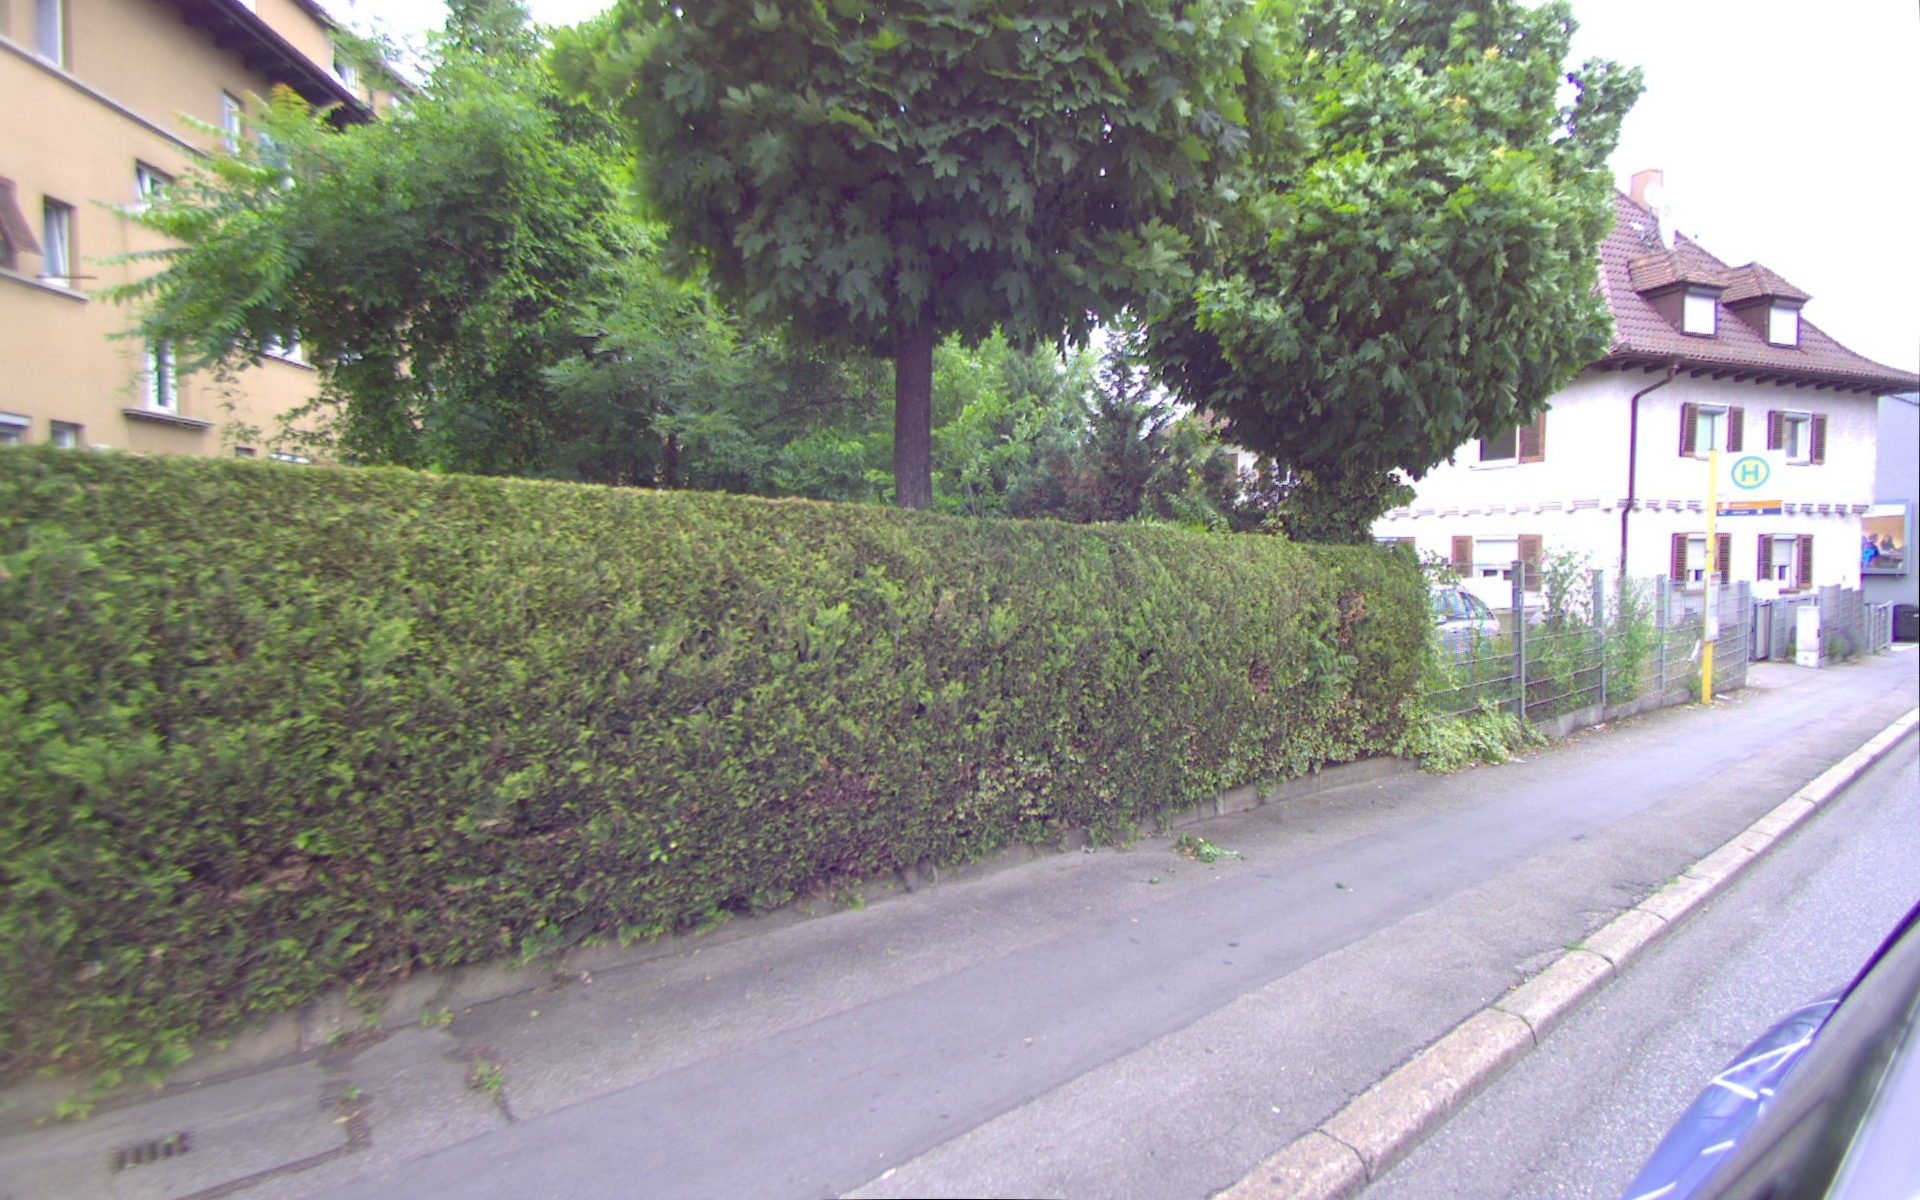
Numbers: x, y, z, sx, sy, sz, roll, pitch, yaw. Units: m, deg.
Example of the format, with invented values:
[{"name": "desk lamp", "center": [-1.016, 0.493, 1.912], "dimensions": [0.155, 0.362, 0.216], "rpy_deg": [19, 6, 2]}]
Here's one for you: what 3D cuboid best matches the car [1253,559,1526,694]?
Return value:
[{"name": "car", "center": [5.704, 0.273, 13.185], "dimensions": [4.195, 1.439, 1.800], "rpy_deg": [0, 2, -45]}]
